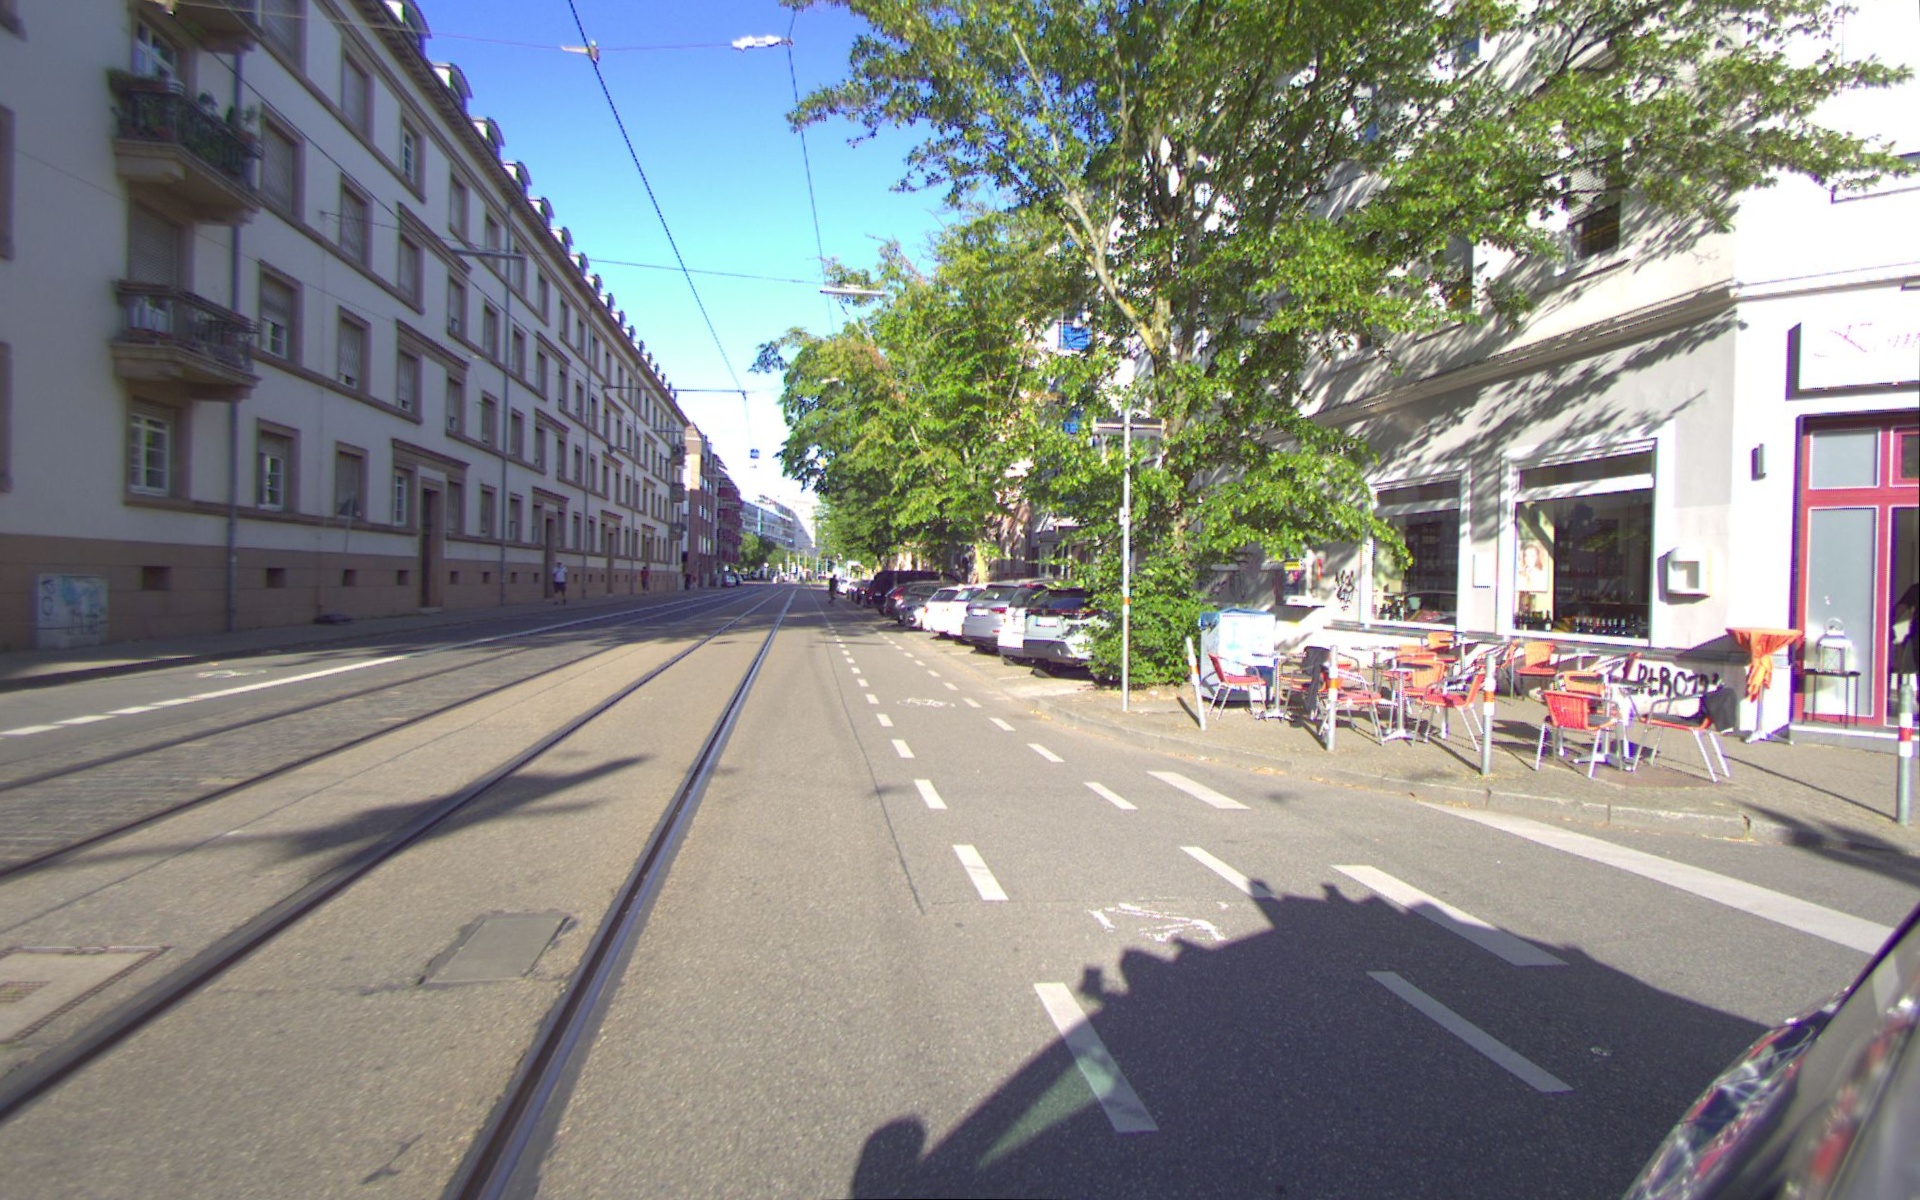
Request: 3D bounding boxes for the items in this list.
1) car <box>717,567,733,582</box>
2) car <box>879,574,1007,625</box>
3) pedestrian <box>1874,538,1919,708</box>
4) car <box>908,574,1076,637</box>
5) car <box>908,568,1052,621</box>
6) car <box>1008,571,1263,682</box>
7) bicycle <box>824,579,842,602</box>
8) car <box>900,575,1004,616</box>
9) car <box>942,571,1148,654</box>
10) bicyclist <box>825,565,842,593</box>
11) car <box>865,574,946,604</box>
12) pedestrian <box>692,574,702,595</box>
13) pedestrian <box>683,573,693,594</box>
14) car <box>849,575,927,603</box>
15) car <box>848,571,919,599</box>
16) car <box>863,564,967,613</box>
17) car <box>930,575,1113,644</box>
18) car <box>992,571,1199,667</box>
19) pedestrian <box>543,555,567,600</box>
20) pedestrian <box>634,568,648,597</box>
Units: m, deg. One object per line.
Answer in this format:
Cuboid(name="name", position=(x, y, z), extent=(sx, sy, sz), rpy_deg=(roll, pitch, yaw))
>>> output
Cuboid(name="car", position=(-29.617, -3.198, 127.503), extent=(1.851, 1.705, 4.401), rpy_deg=(1, 0, -12))
Cuboid(name="car", position=(-0.502, -0.061, 32.804), extent=(4.065, 1.506, 1.618), rpy_deg=(-2, 3, -41))
Cuboid(name="pedestrian", position=(10.682, 0.255, 11.005), extent=(0.835, 1.822, 0.865), rpy_deg=(1, 1, -32))
Cuboid(name="car", position=(0.839, 0.096, 26.435), extent=(4.049, 1.506, 1.624), rpy_deg=(-1, 3, -23))
Cuboid(name="car", position=(0.581, -0.178, 30.444), extent=(4.049, 1.506, 1.624), rpy_deg=(0, 2, -14))
Cuboid(name="car", position=(2.900, 0.331, 16.431), extent=(4.056, 1.574, 1.621), rpy_deg=(-1, 3, -33))
Cuboid(name="bicycle", position=(-7.073, -0.566, 56.341), extent=(0.883, 1.179, 3.254), rpy_deg=(2, 1, -9))
Cuboid(name="car", position=(-0.281, -0.227, 40.369), extent=(4.065, 1.506, 1.618), rpy_deg=(-2, 3, -41))
Cuboid(name="car", position=(1.794, 0.195, 21.101), extent=(4.052, 1.574, 1.623), rpy_deg=(-1, 3, -28))
Cuboid(name="bicyclist", position=(-7.045, -1.174, 56.280), extent=(0.883, 1.472, 1.265), rpy_deg=(2, 1, -9))
Cuboid(name="car", position=(-2.832, -0.584, 52.504), extent=(4.050, 1.506, 1.623), rpy_deg=(0, 2, -9))
Cuboid(name="pedestrian", position=(-23.841, -1.439, 91.768), extent=(0.723, 1.860, 0.698), rpy_deg=(2, 1, -10))
Cuboid(name="pedestrian", position=(-24.652, -1.502, 91.641), extent=(0.723, 1.860, 0.698), rpy_deg=(2, 1, -10))
Cuboid(name="car", position=(-4.038, -0.640, 56.513), extent=(4.050, 1.506, 1.624), rpy_deg=(-1, 3, -24))
Cuboid(name="car", position=(-4.714, -0.956, 62.498), extent=(4.050, 1.682, 1.624), rpy_deg=(-1, 3, -24))
Cuboid(name="car", position=(-1.830, -0.535, 42.090), extent=(4.065, 1.910, 1.886), rpy_deg=(-2, 3, -41))
Cuboid(name="car", position=(1.461, 0.164, 24.129), extent=(4.049, 1.506, 1.624), rpy_deg=(-1, 3, -22))
Cuboid(name="car", position=(2.637, 0.270, 19.129), extent=(4.065, 1.574, 1.618), rpy_deg=(-2, 3, -41))
Cuboid(name="pedestrian", position=(-17.062, -0.948, 42.644), extent=(0.723, 1.860, 0.698), rpy_deg=(2, 1, -10))
Cuboid(name="pedestrian", position=(-20.833, -1.172, 66.063), extent=(0.723, 1.860, 0.698), rpy_deg=(2, 1, -10))
